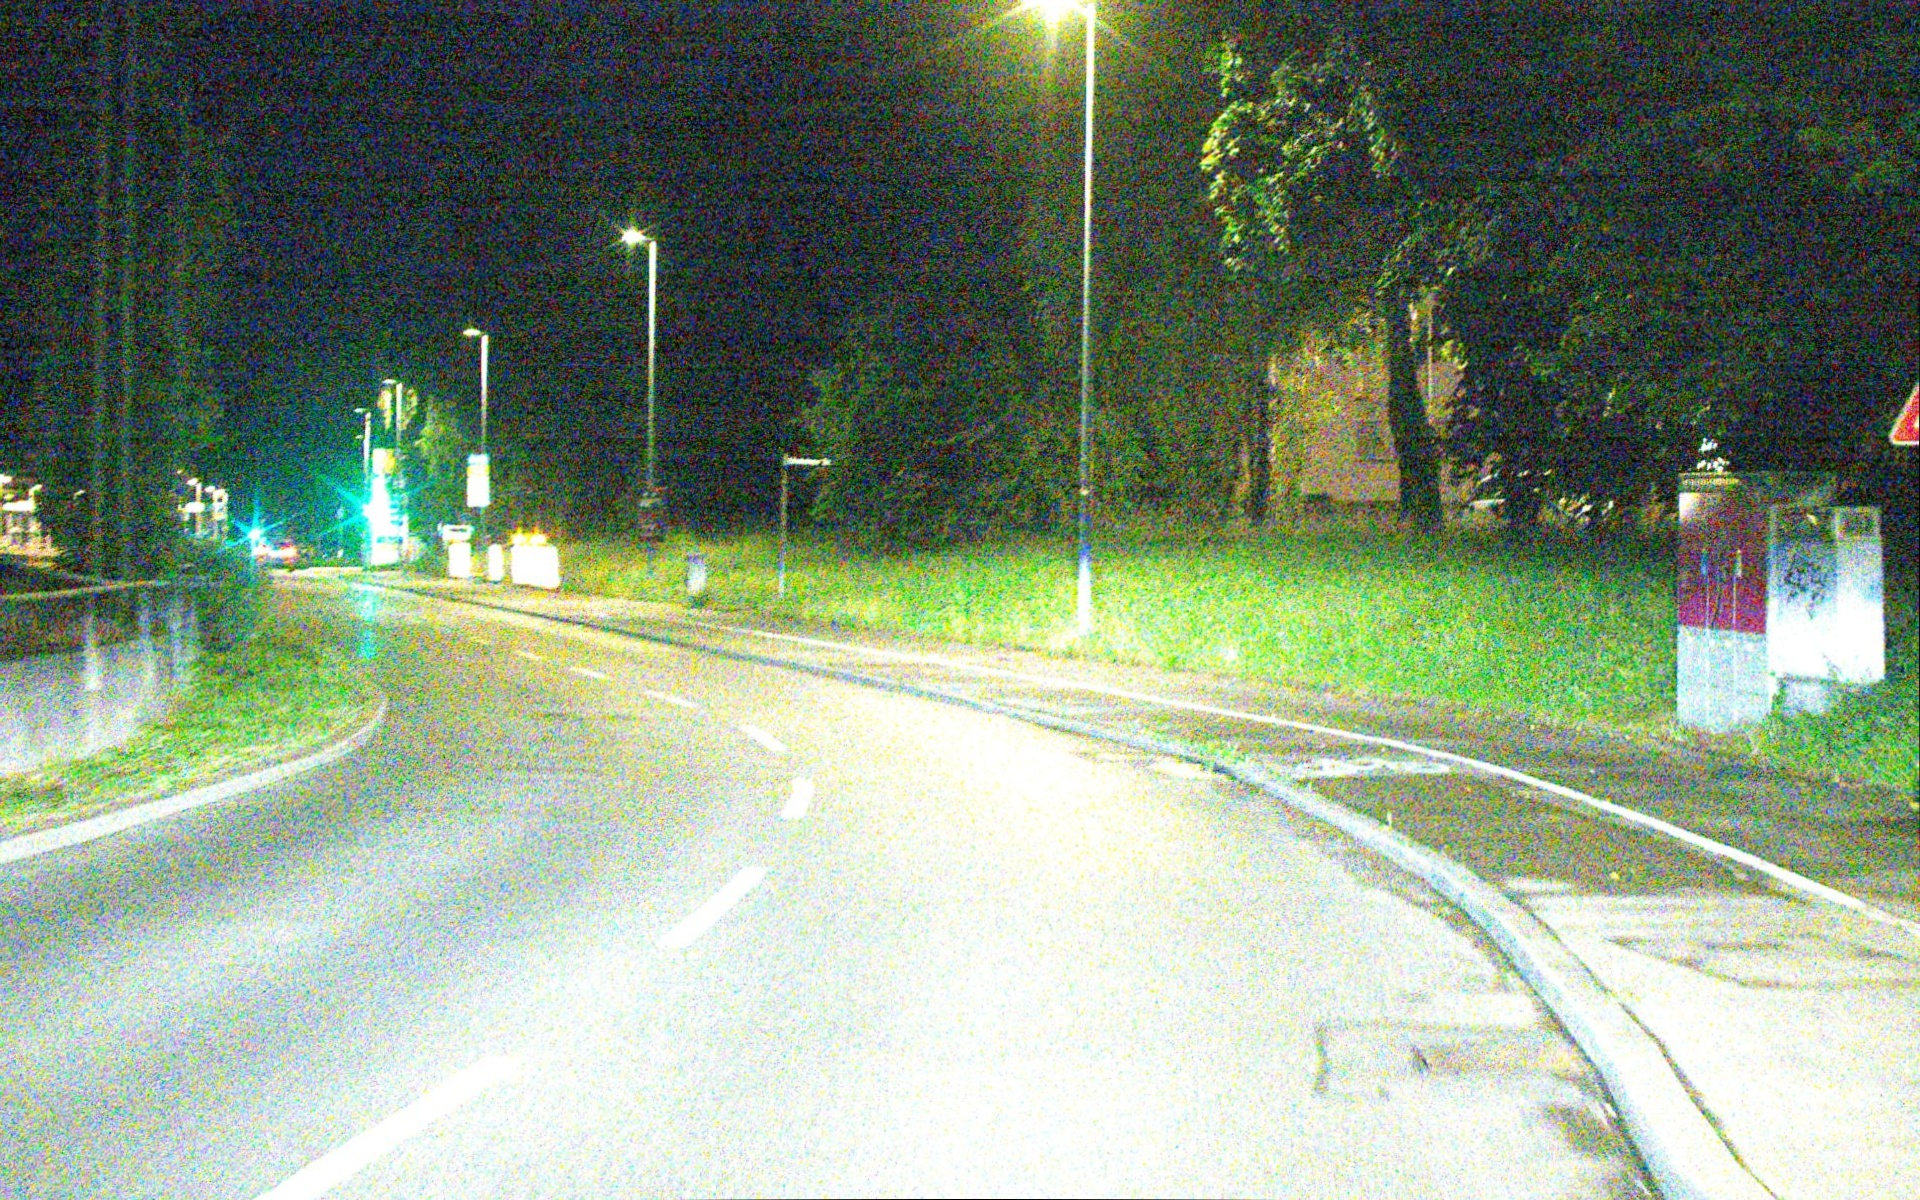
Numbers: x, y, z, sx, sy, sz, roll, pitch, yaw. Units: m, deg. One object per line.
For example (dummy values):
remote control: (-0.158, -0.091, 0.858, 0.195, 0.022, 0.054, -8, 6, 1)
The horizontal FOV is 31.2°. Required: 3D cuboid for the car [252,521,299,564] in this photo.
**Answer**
car: (-32.799, -2.766, 164.713, 2.087, 2.007, 4.001, 0, 1, -13)
